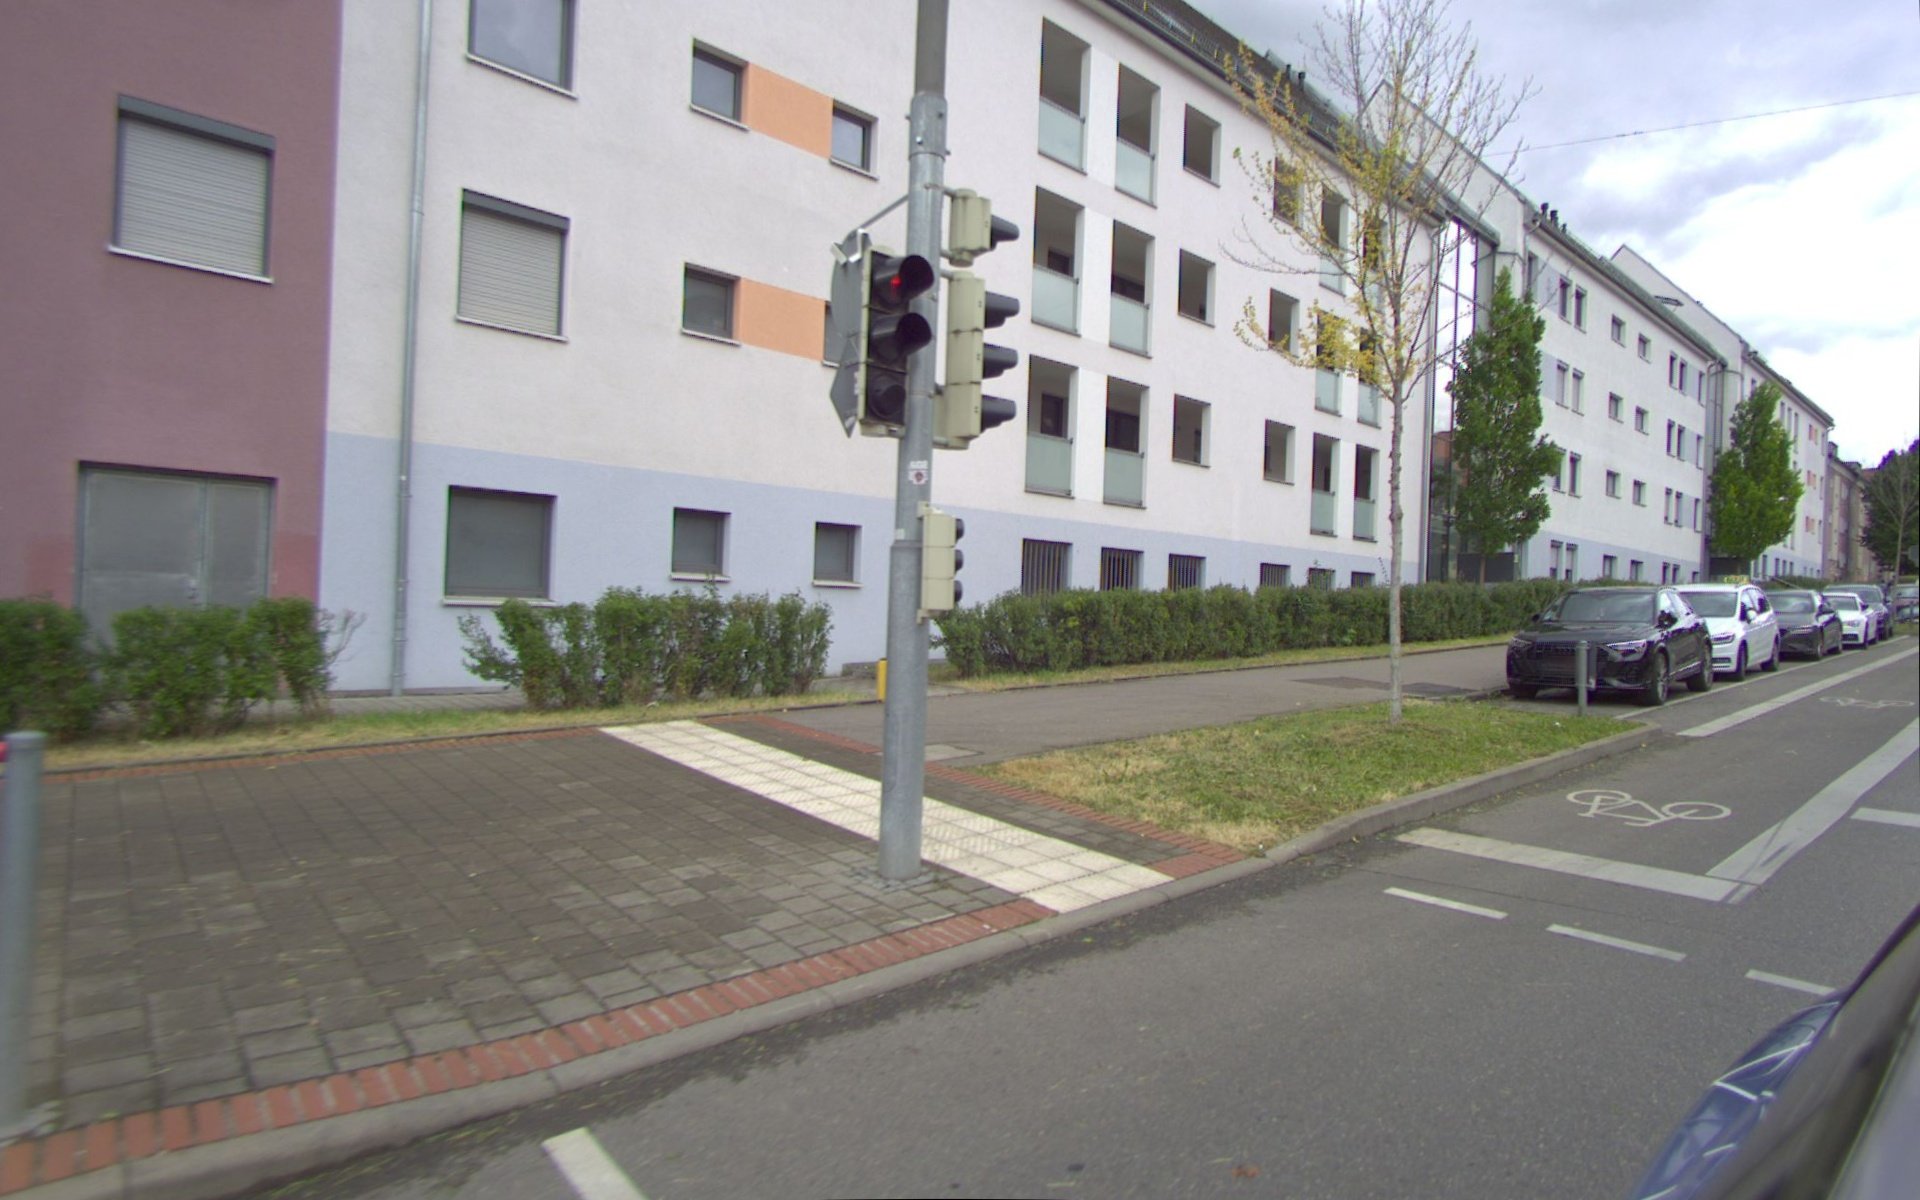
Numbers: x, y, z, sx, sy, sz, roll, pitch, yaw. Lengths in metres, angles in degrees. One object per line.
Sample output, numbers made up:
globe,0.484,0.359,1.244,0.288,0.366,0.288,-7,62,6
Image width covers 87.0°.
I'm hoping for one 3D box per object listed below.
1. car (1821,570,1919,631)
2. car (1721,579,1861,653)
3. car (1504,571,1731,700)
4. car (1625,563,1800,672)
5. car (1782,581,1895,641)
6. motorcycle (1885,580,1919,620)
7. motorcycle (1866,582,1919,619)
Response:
car,26.768,-0.003,29.705,4.280,1.671,1.634,0,0,-41
car,18.601,0.305,22.577,4.865,1.486,1.747,0,0,-43
car,9.752,0.407,14.858,4.495,1.608,1.736,-1,1,-43
car,13.631,0.267,18.228,4.473,1.737,1.661,0,0,-42
car,22.756,0.250,26.161,4.423,1.431,1.732,0,0,-43
motorcycle,34.145,-0.002,35.384,0.681,1.398,2.599,0,1,-44
motorcycle,34.380,0.025,36.436,0.741,1.295,2.599,0,1,-44
